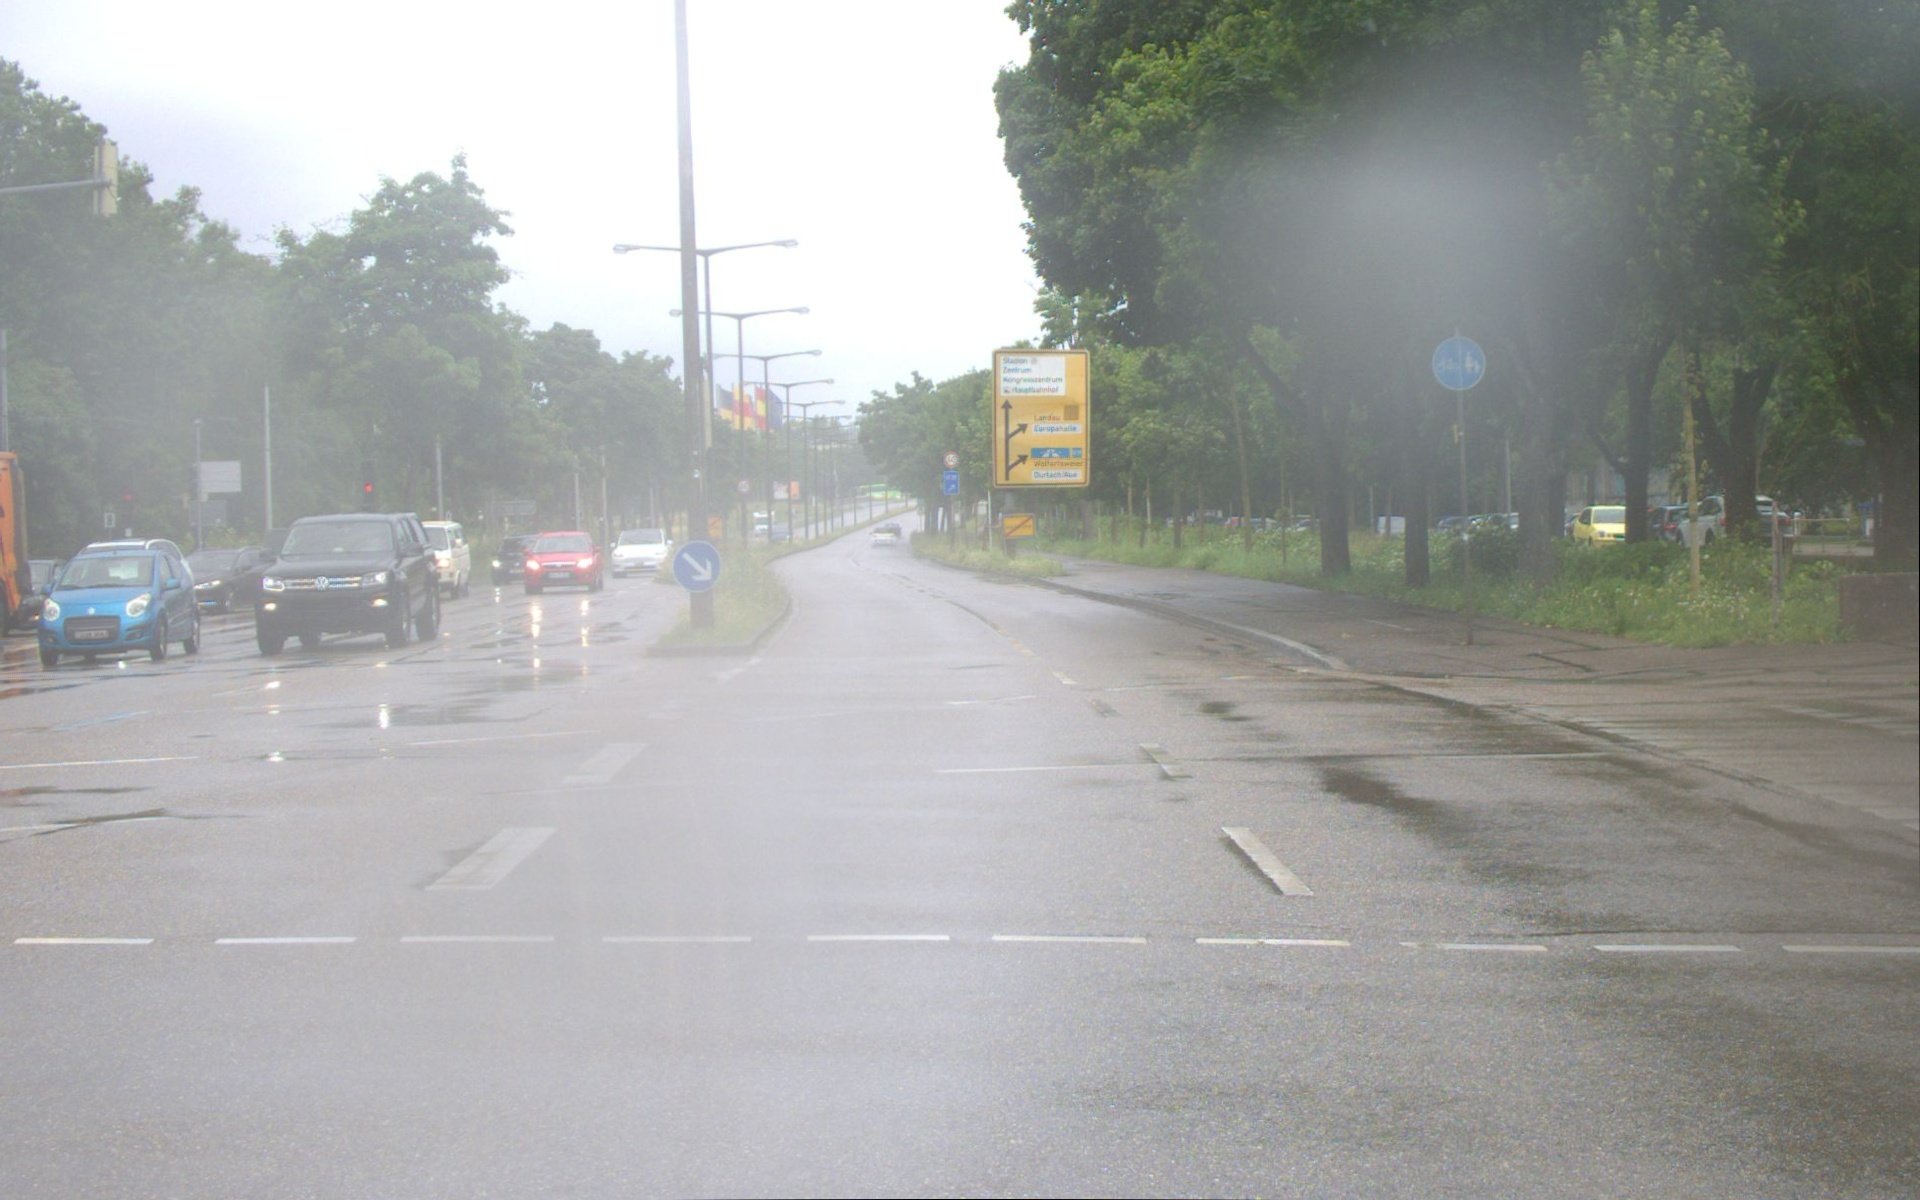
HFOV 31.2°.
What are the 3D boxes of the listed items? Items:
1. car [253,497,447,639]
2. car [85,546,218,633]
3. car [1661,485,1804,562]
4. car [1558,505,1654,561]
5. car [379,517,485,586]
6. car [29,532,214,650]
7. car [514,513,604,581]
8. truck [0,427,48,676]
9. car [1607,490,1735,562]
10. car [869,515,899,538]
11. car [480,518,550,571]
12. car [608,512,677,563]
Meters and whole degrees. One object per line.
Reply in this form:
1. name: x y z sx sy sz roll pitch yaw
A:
1. car: -8.271 -0.474 47.011 1.805 1.767 5.090 -3 1 -1
2. car: -17.660 -0.255 75.284 1.993 1.821 4.772 1 1 -3
3. car: 18.220 -1.782 81.280 1.993 1.711 4.879 -2 1 -3
4. car: 17.758 -1.839 94.636 1.637 1.481 4.073 1 1 -3
5. car: -12.780 -1.201 83.447 1.894 1.605 4.500 -1 1 -1
6. car: -11.175 -0.143 46.056 1.641 1.422 4.001 -3 1 -3
7. car: -9.943 -1.296 85.600 1.801 1.564 4.429 -3 1 -2
8. truck: -17.667 -0.797 55.371 3.385 4.153 10.407 1 1 -1
9. car: 17.887 -1.862 86.728 1.993 1.711 4.642 -2 1 -3
10. car: -5.052 -4.928 229.749 1.907 1.509 4.000 -1 1 -1
11. car: -14.640 -1.848 113.348 1.707 1.636 4.331 -3 1 -1
12. car: -10.666 -2.115 115.735 1.961 1.611 4.698 -2 1 -1
